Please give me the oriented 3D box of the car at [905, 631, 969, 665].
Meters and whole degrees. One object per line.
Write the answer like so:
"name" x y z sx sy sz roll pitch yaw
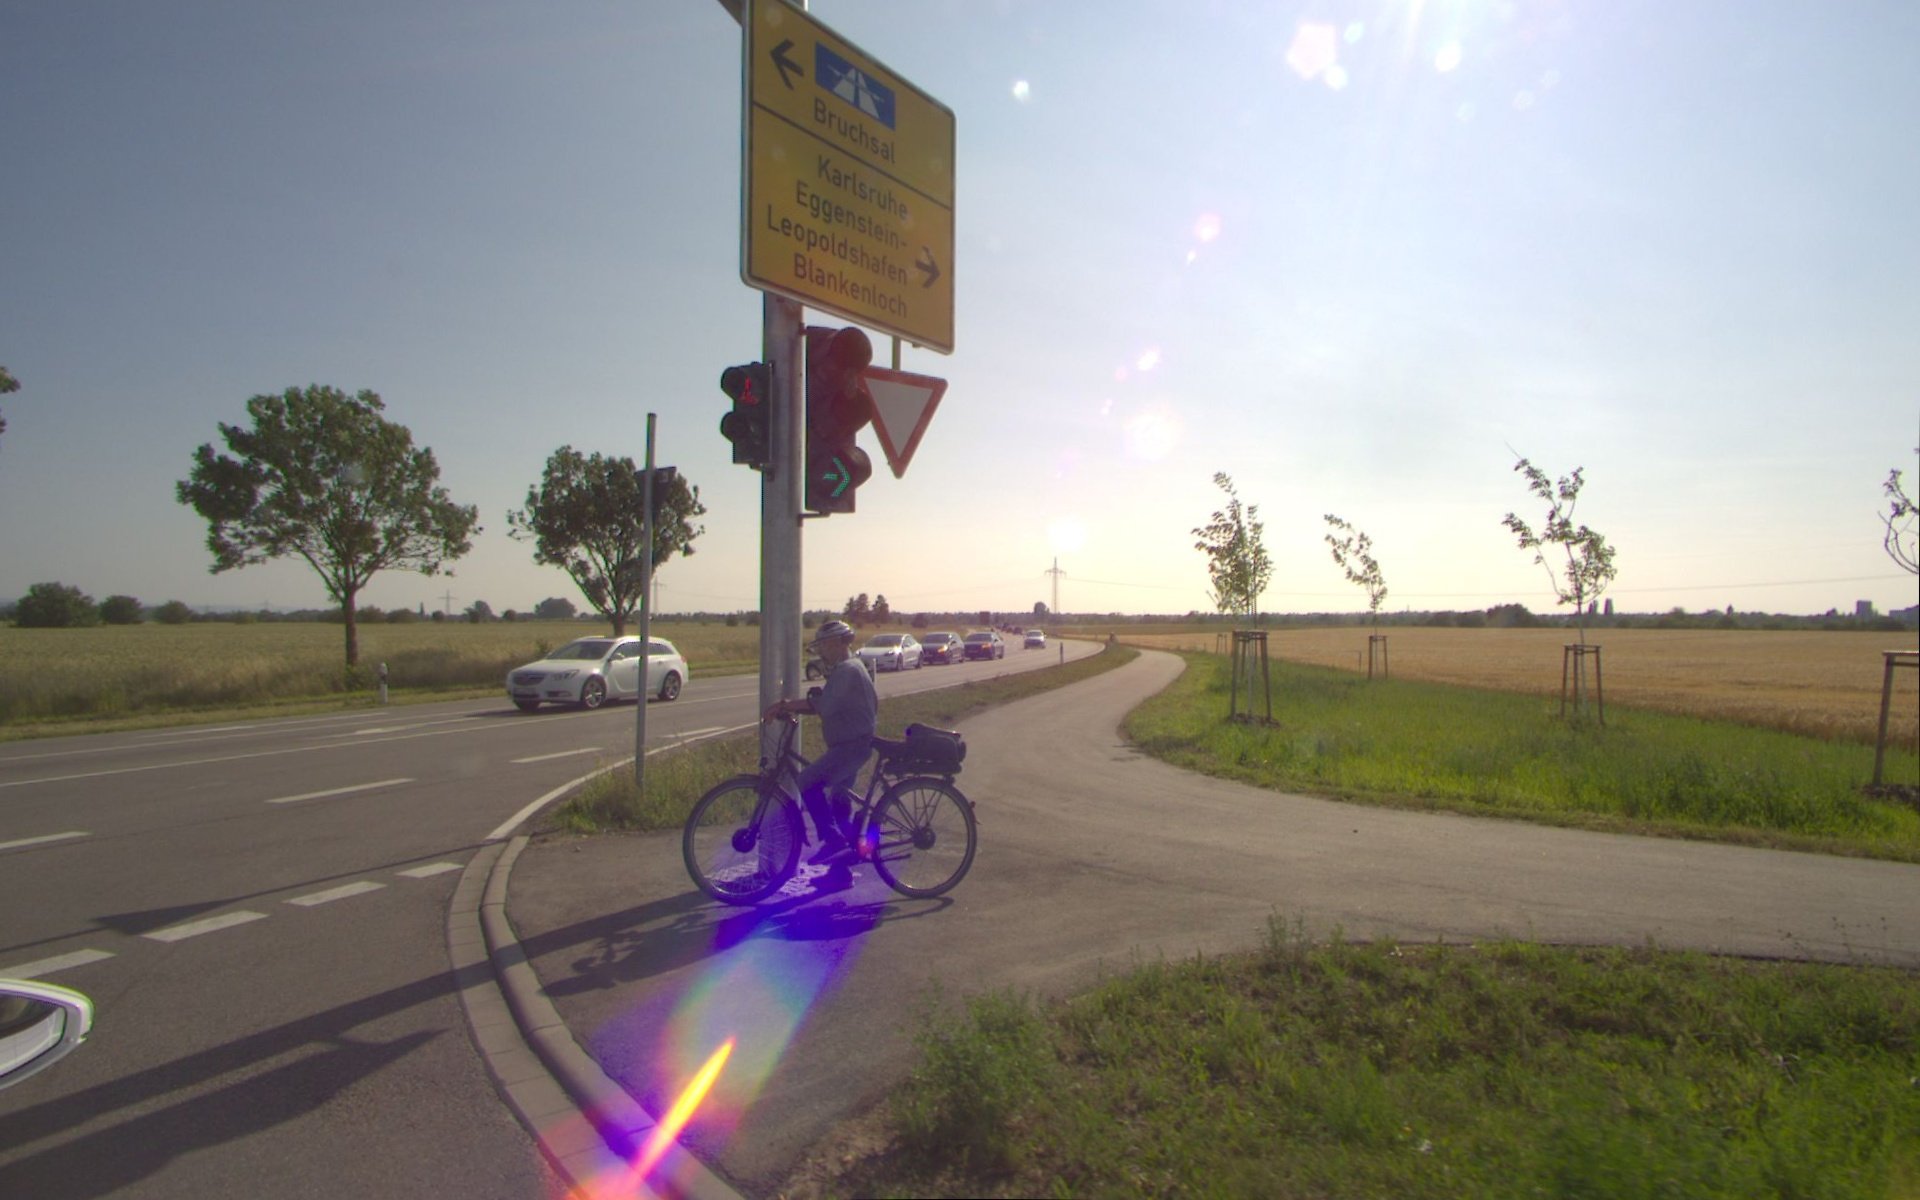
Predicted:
"car" -1.024 2.213 46.852 1.861 1.479 4.303 -1 -2 15

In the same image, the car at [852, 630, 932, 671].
"car" -2.657 1.990 40.019 1.862 1.485 4.271 -2 -2 16

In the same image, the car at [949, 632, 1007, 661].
"car" 1.021 2.446 53.427 1.862 1.454 4.792 -1 -2 16

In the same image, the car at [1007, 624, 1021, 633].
"car" 11.393 6.049 211.794 1.811 1.857 4.464 3 -1 -10

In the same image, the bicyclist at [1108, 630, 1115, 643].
"bicyclist" 18.459 4.418 121.871 0.627 1.476 0.817 2 -1 -7

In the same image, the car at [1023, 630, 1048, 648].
"car" 6.213 3.157 82.228 1.660 1.421 4.000 -1 -2 10

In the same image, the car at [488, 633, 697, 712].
"car" -7.846 1.496 21.918 1.734 1.511 4.701 -1 -2 19

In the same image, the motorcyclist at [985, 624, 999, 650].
"motorcyclist" 1.882 2.136 58.579 0.667 1.514 0.846 -1 -1 15

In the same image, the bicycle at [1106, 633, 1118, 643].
"bicycle" 18.449 4.653 121.862 0.832 1.156 2.206 2 -1 -8

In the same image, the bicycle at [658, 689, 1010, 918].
"bicycle" -0.730 1.155 5.934 1.915 1.165 0.679 4 -4 -24

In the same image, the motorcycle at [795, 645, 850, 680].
"motorcycle" -4.523 2.046 33.080 0.883 1.057 2.426 -1 -1 16

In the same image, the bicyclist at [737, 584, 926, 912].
"bicyclist" -0.769 0.848 5.943 0.903 1.787 0.618 4 -3 -24

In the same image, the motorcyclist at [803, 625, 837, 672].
"motorcyclist" -4.582 1.579 32.843 0.669 1.535 1.180 -1 -1 17
